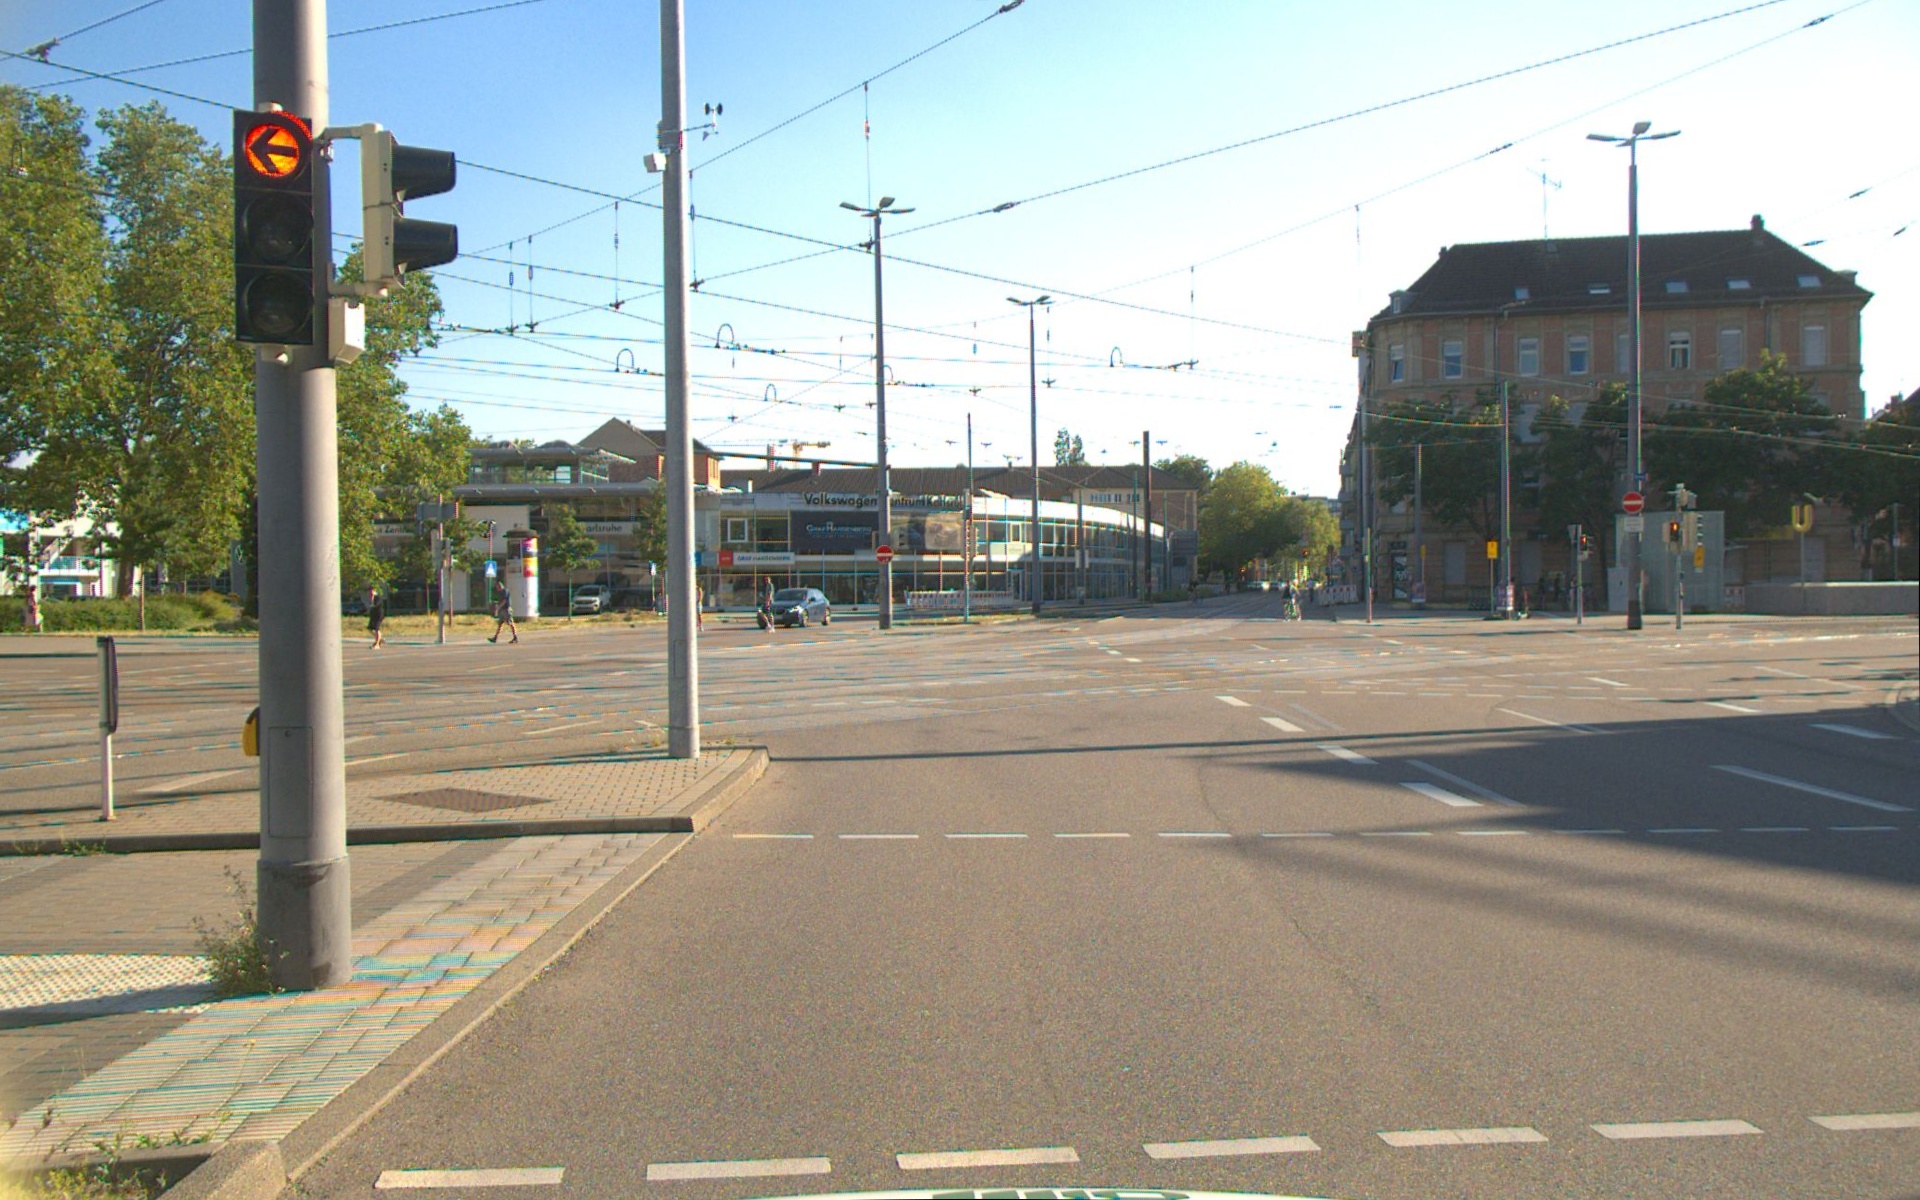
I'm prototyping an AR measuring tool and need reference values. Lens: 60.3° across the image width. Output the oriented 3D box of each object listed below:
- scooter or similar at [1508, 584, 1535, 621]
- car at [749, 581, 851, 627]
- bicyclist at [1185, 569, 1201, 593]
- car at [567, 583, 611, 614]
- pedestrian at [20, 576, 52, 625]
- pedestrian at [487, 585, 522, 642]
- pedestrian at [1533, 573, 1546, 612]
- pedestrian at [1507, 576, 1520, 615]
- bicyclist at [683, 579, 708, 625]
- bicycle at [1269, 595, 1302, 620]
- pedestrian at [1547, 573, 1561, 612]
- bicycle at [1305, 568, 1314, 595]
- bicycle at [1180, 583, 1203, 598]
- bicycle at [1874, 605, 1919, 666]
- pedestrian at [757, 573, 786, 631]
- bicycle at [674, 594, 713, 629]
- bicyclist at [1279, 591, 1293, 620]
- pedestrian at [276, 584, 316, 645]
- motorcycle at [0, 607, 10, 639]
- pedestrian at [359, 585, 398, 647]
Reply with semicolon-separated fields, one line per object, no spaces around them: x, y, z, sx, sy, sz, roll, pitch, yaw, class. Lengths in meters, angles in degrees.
21.676;0.101;63.857;0.769;1.400;1.910;1;0;13;scooter or similar
-5.920;0.166;61.601;1.954;1.613;3.996;1;0;26;car
15.224;-1.239;108.106;0.763;1.604;0.754;1;-1;-30;bicyclist
-22.127;-0.098;98.867;1.954;1.780;3.997;1;0;-4;car
-32.842;0.005;58.783;0.839;1.723;0.496;1;-1;-3;pedestrian
-14.117;0.412;51.241;0.777;1.736;0.759;1;-1;6;pedestrian
30.557;-0.385;87.214;0.589;2.049;0.647;-1;0;14;pedestrian
29.149;-0.232;87.084;0.589;2.049;0.647;-1;0;14;pedestrian
-9.526;0.072;59.571;0.585;1.644;0.823;1;-1;16;bicyclist
12.958;0.310;65.772;0.404;0.958;1.834;0;-1;41;bicycle
31.092;-0.394;86.591;0.589;2.049;0.647;-1;0;14;pedestrian
26.522;-1.397;125.455;0.604;2.049;2.402;1;0;13;bicycle
15.150;-0.601;108.139;0.650;0.969;1.584;1;0;-30;bicycle
17.618;0.664;29.977;0.524;1.067;2.316;1;1;-9;bicycle
-6.310;0.062;55.495;0.777;1.919;0.759;1;-1;6;pedestrian
-9.564;0.420;59.475;0.599;1.210;1.870;1;0;17;bicycle
12.983;0.221;65.803;0.402;1.136;0.396;0;-1;43;bicyclist
-19.434;0.421;48.419;0.777;1.736;0.759;1;-1;6;pedestrian
-28.928;0.668;48.497;1.748;0.930;0.675;1;0;-21;motorcycle
-16.579;0.465;47.161;0.777;1.736;0.759;1;-1;6;pedestrian
